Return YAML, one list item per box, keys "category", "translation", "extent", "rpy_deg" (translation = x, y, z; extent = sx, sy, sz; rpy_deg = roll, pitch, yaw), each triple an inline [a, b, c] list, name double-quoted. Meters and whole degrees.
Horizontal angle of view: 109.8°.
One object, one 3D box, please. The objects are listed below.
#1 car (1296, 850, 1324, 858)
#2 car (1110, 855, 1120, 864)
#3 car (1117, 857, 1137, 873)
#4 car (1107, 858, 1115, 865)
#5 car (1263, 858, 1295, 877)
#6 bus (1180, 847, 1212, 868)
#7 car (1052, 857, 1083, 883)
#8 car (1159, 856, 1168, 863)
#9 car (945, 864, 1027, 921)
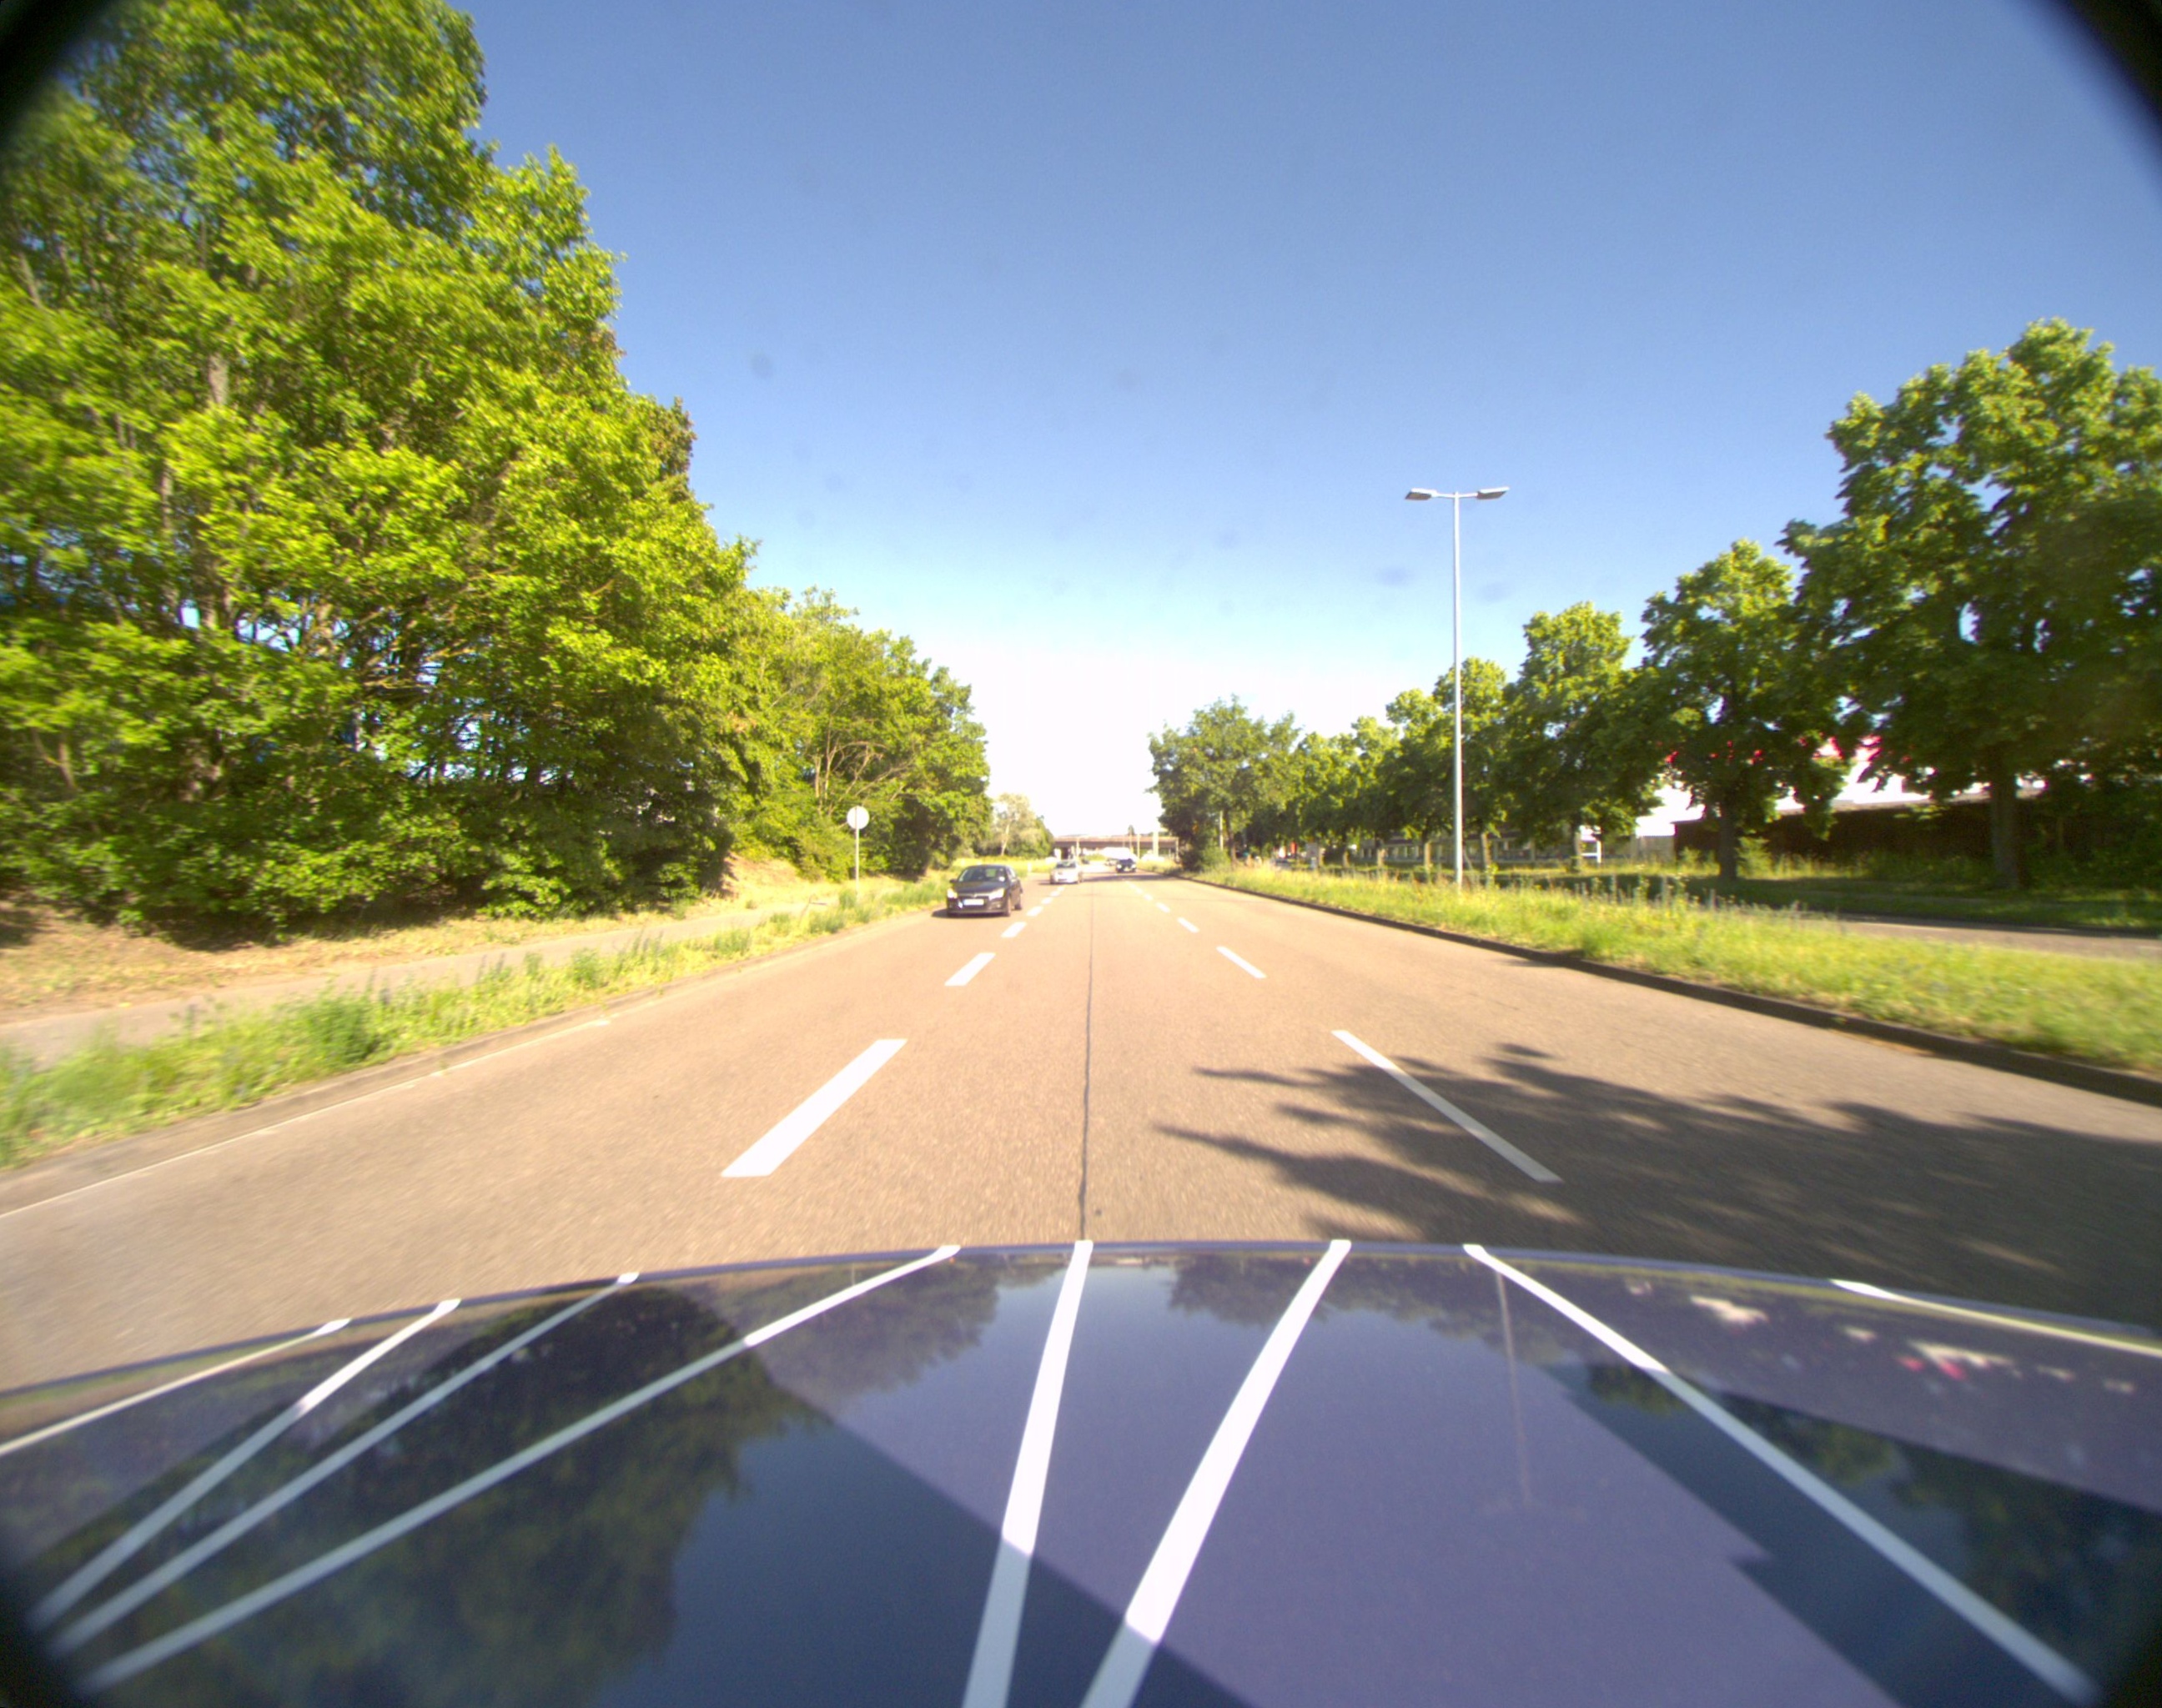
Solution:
- category: "car"
  translation: [39.754, 0.045, 131.916]
  extent: [4.129, 1.380, 1.946]
  rpy_deg: [0, 0, -2]
- category: "car"
  translation: [6.199, 1.037, 138.600]
  extent: [1.827, 1.528, 4.042]
  rpy_deg: [0, 0, 1]
- category: "car"
  translation: [4.581, 1.109, 75.632]
  extent: [1.827, 1.528, 4.042]
  rpy_deg: [-1, 0, 1]
- category: "car"
  translation: [6.550, 1.547, 163.346]
  extent: [1.627, 1.428, 3.279]
  rpy_deg: [0, 0, 3]
- category: "car"
  translation: [17.615, 1.191, 67.889]
  extent: [1.760, 1.511, 4.530]
  rpy_deg: [2, 0, 1]
- category: "bus"
  translation: [15.691, 0.486, 104.221]
  extent: [2.728, 2.705, 11.088]
  rpy_deg: [2, 0, 1]
- category: "car"
  translation: [-0.807, 0.970, 47.951]
  extent: [1.827, 1.528, 4.042]
  rpy_deg: [-1, 0, 1]
- category: "car"
  translation: [19.830, 1.335, 183.686]
  extent: [1.710, 1.736, 4.166]
  rpy_deg: [-1, 0, 0]
- category: "car"
  translation: [-2.661, 1.042, 22.083]
  extent: [1.706, 1.446, 3.960]
  rpy_deg: [-1, 0, 2]
